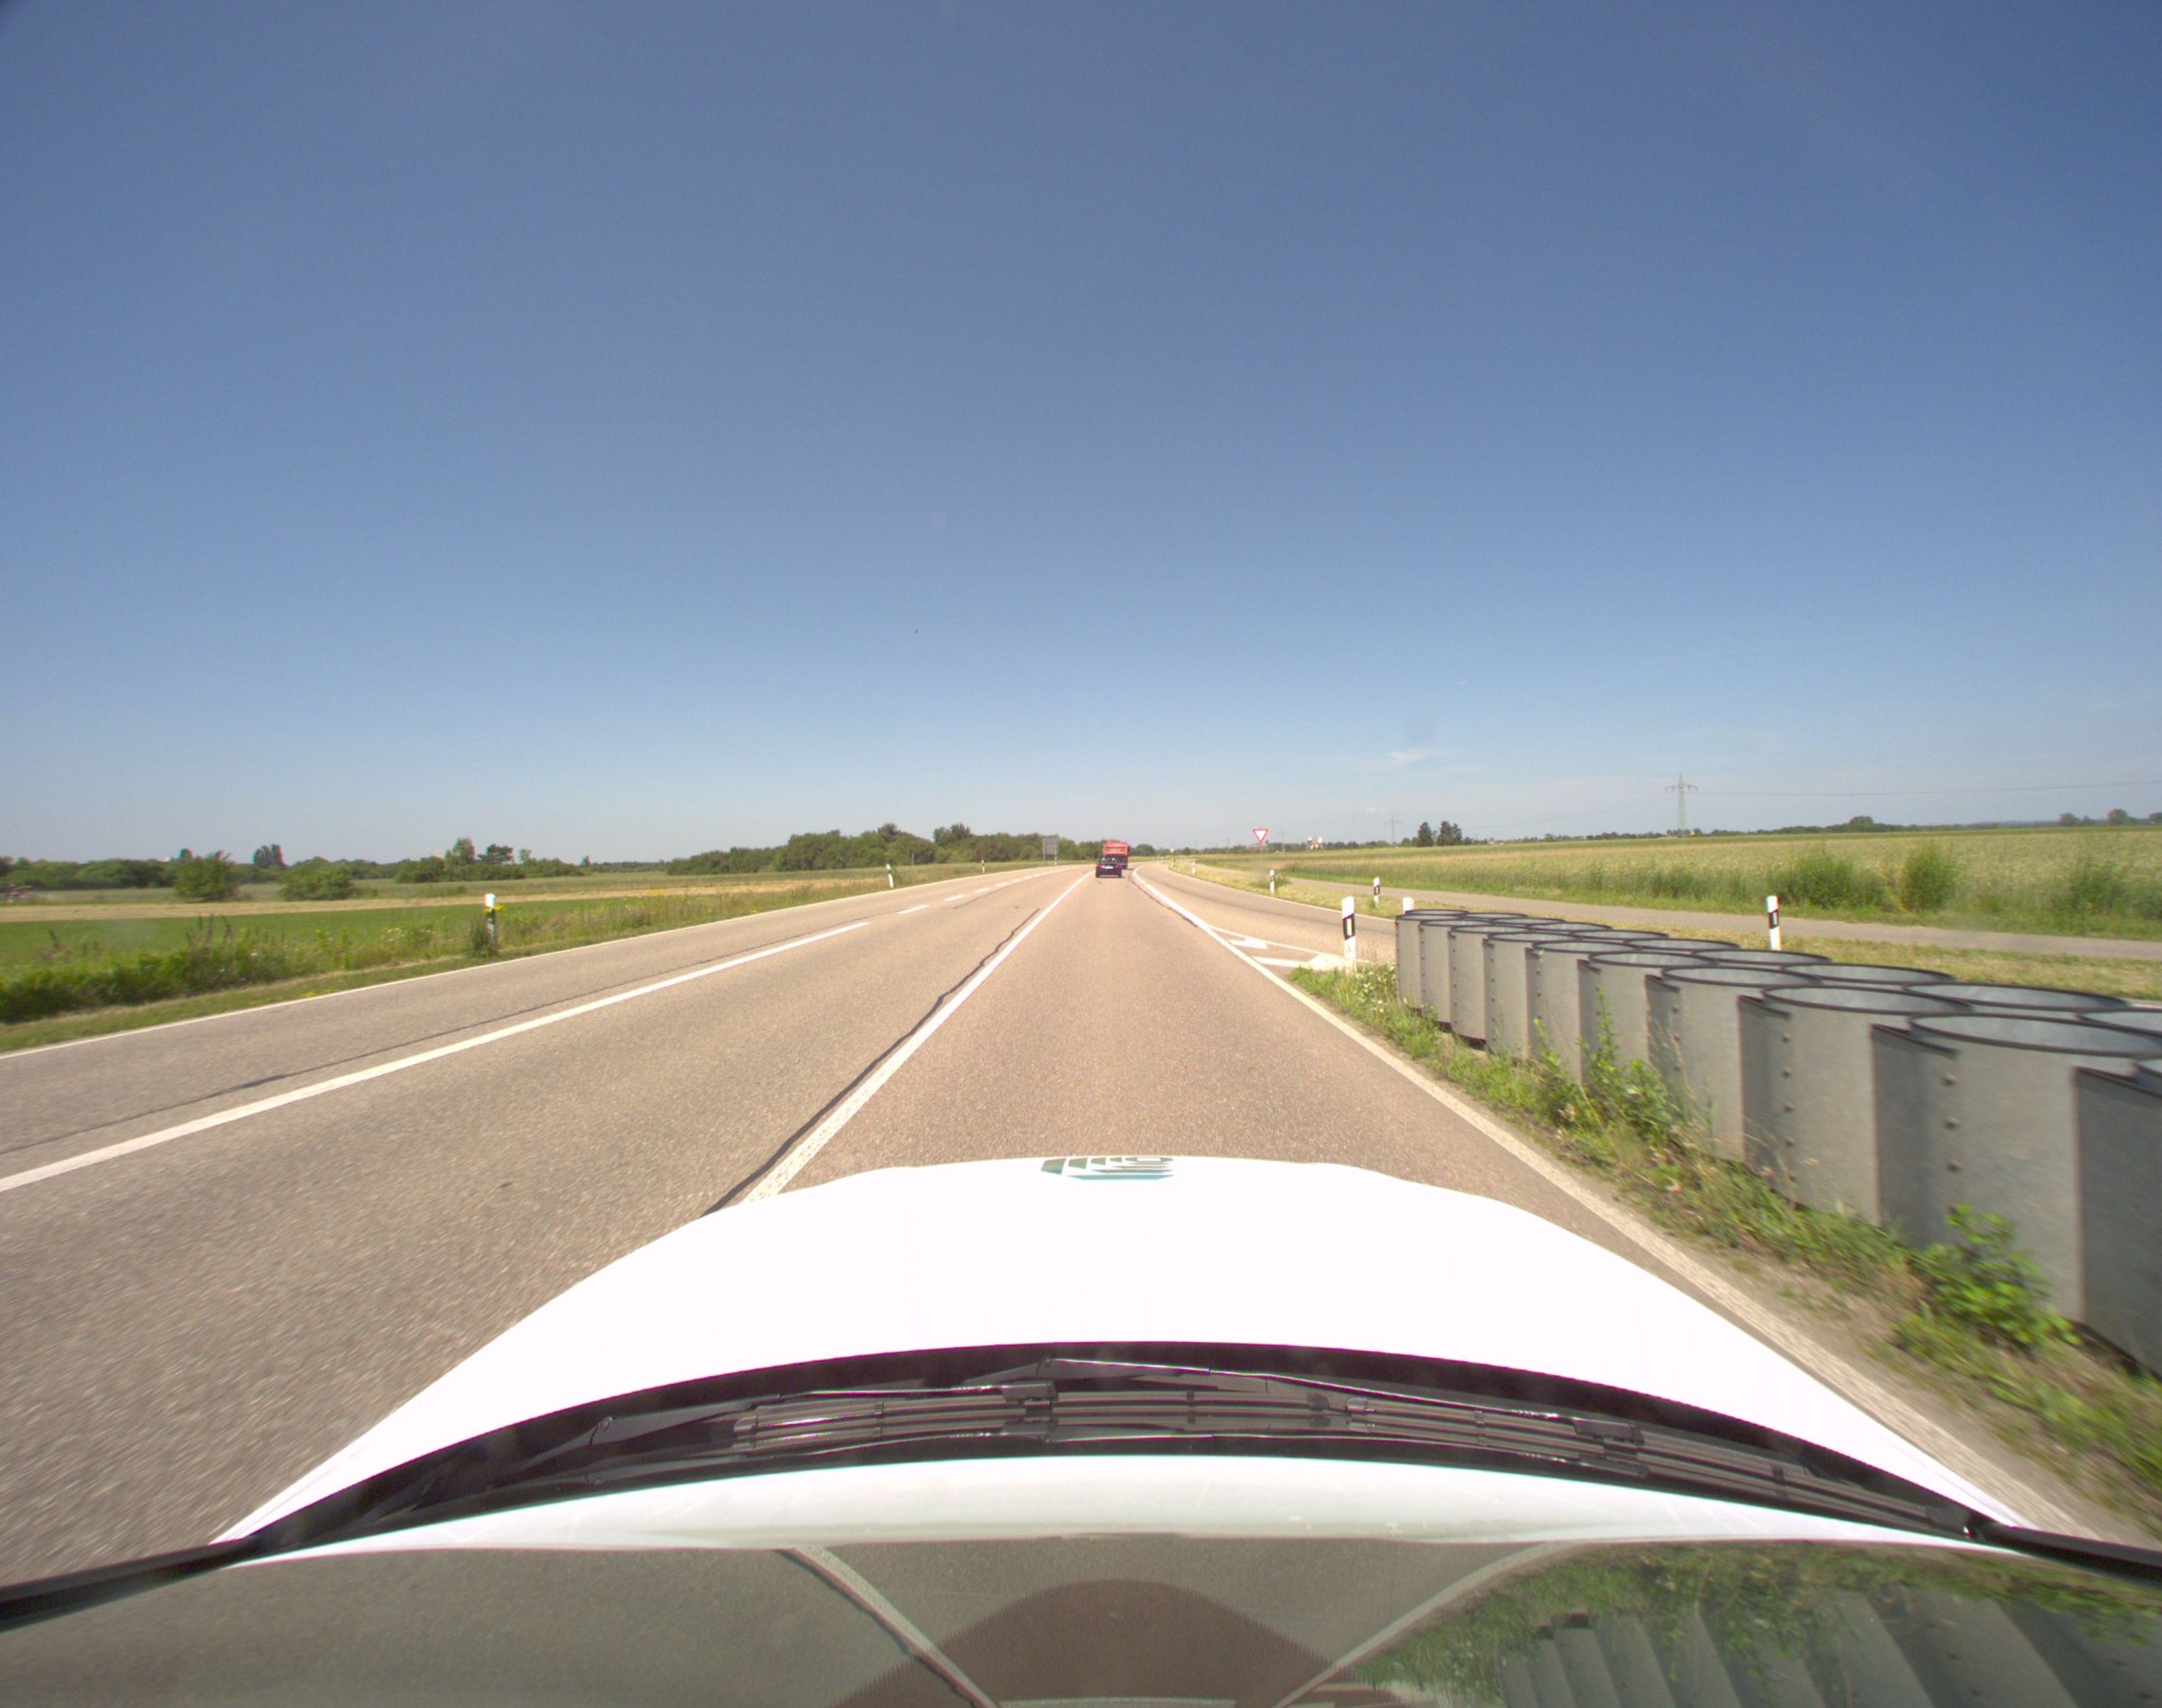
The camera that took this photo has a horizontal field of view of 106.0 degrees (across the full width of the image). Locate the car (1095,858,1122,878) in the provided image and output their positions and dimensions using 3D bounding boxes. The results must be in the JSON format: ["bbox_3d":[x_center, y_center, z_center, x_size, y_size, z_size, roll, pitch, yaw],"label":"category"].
[{"bbox_3d":[1.864,0.901,54.799,1.737,1.280,4.003,0,0,3],"label":"car"}]

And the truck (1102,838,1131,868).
[{"bbox_3d":[3.835,-0.049,88.692,2.927,3.089,7.199,0,-1,2],"label":"truck"}]
